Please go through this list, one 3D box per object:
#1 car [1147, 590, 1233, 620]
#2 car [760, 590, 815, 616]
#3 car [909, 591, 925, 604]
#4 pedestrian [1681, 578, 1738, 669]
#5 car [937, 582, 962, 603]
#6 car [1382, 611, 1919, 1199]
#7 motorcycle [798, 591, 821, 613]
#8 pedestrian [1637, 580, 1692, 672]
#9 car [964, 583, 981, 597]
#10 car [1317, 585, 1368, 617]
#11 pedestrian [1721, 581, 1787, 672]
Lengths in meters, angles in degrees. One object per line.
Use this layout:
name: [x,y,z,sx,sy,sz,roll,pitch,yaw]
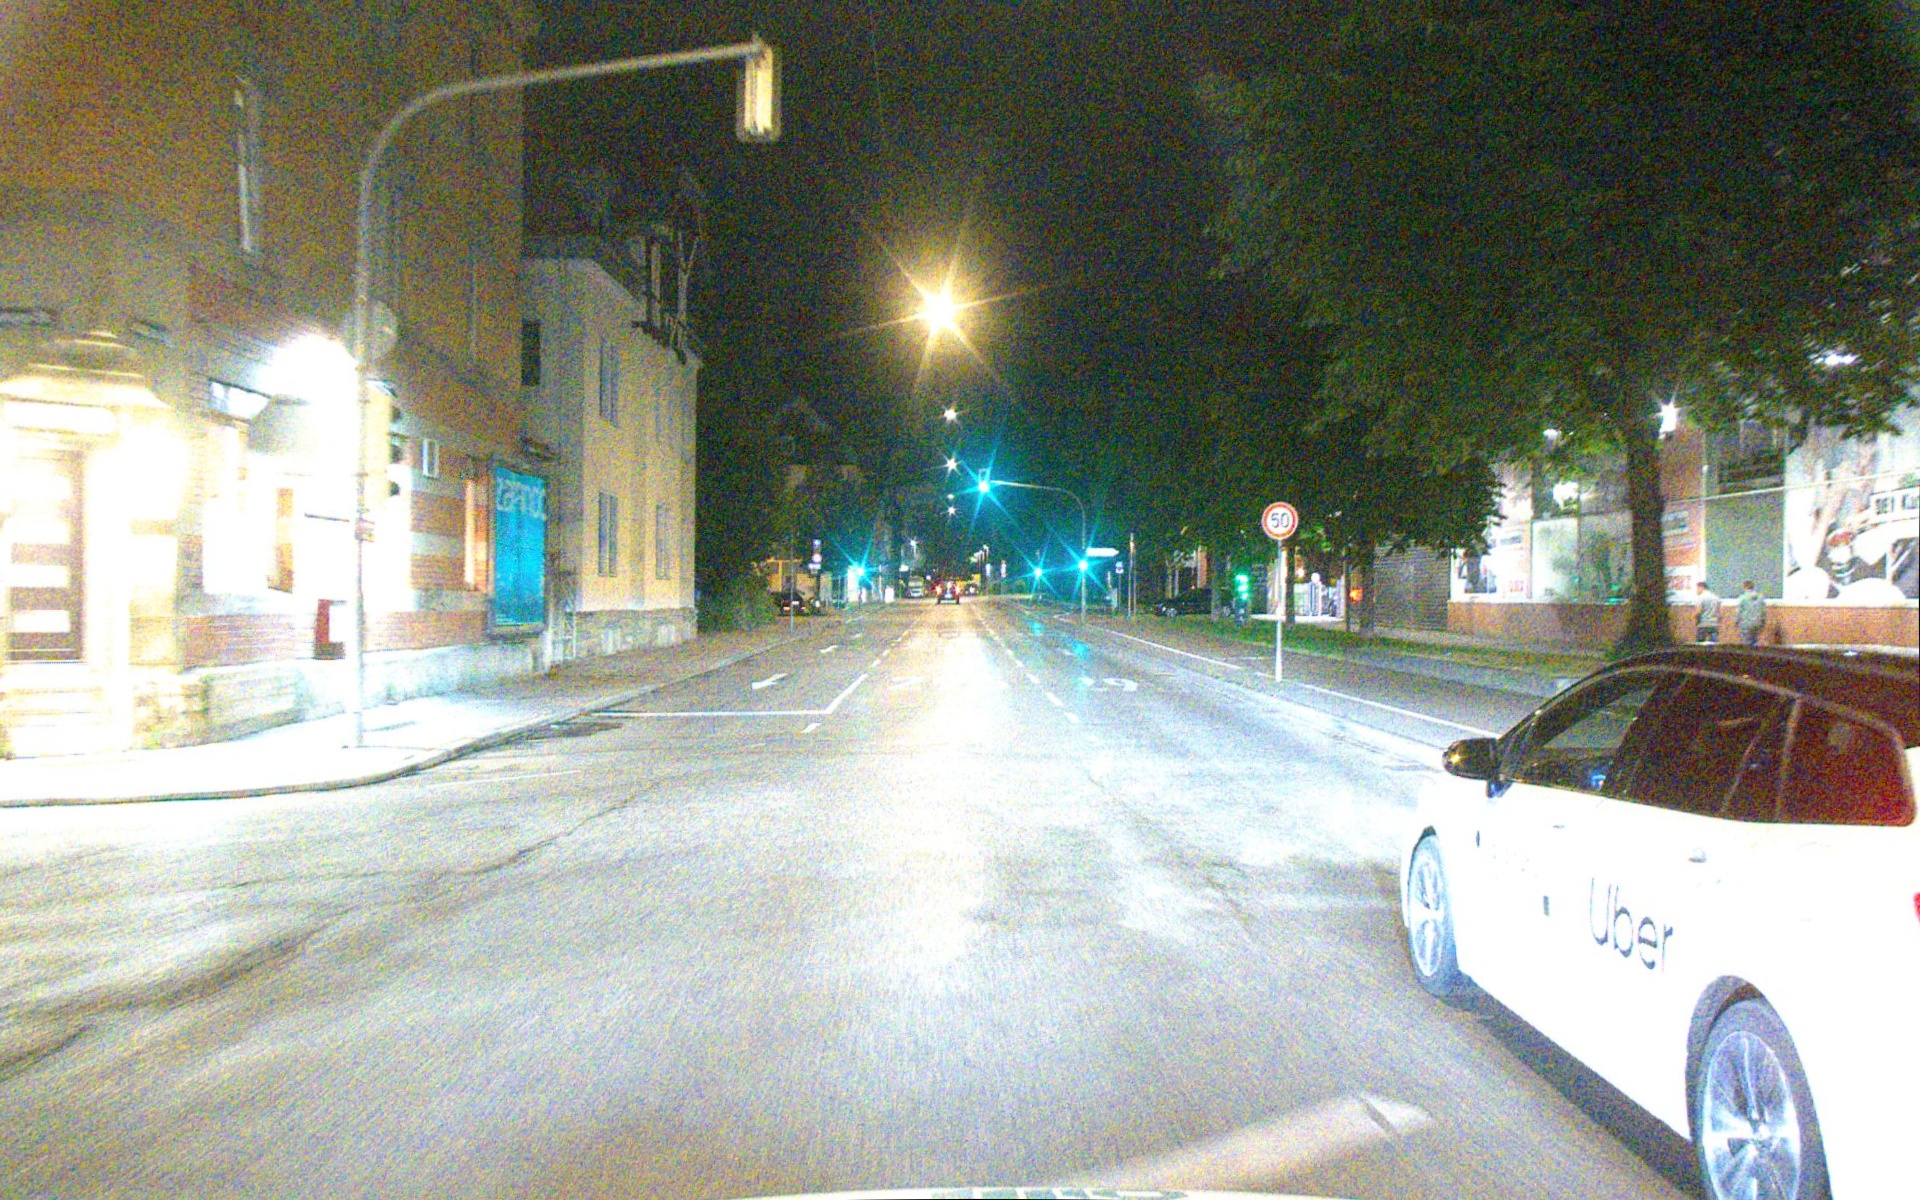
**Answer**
car: [10.967,0.225,78.995,3.904,1.411,1.772,-1,0,2]
car: [-10.496,0.169,100.569,1.786,1.512,3.956,-1,0,-32]
car: [-5.004,-0.272,191.721,1.742,1.414,3.998,-1,0,-2]
pedestrian: [15.071,0.466,33.275,0.723,1.800,0.907,-1,0,-1]
car: [-0.896,-0.630,137.566,1.953,1.668,3.998,0,0,-2]
car: [2.688,0.811,4.899,1.694,1.460,4.210,2,0,-1]
motorcycle: [-8.895,0.113,97.655,0.769,1.225,2.436,-1,0,-19]
pedestrian: [14.137,0.513,33.215,0.699,1.800,0.907,-1,0,-1]
car: [1.568,-1.236,206.249,1.954,1.624,3.998,0,0,-3]
car: [18.621,0.044,80.598,1.541,1.513,3.830,-1,0,-1]
pedestrian: [16.081,0.527,33.532,0.882,1.800,0.907,-1,0,-1]
